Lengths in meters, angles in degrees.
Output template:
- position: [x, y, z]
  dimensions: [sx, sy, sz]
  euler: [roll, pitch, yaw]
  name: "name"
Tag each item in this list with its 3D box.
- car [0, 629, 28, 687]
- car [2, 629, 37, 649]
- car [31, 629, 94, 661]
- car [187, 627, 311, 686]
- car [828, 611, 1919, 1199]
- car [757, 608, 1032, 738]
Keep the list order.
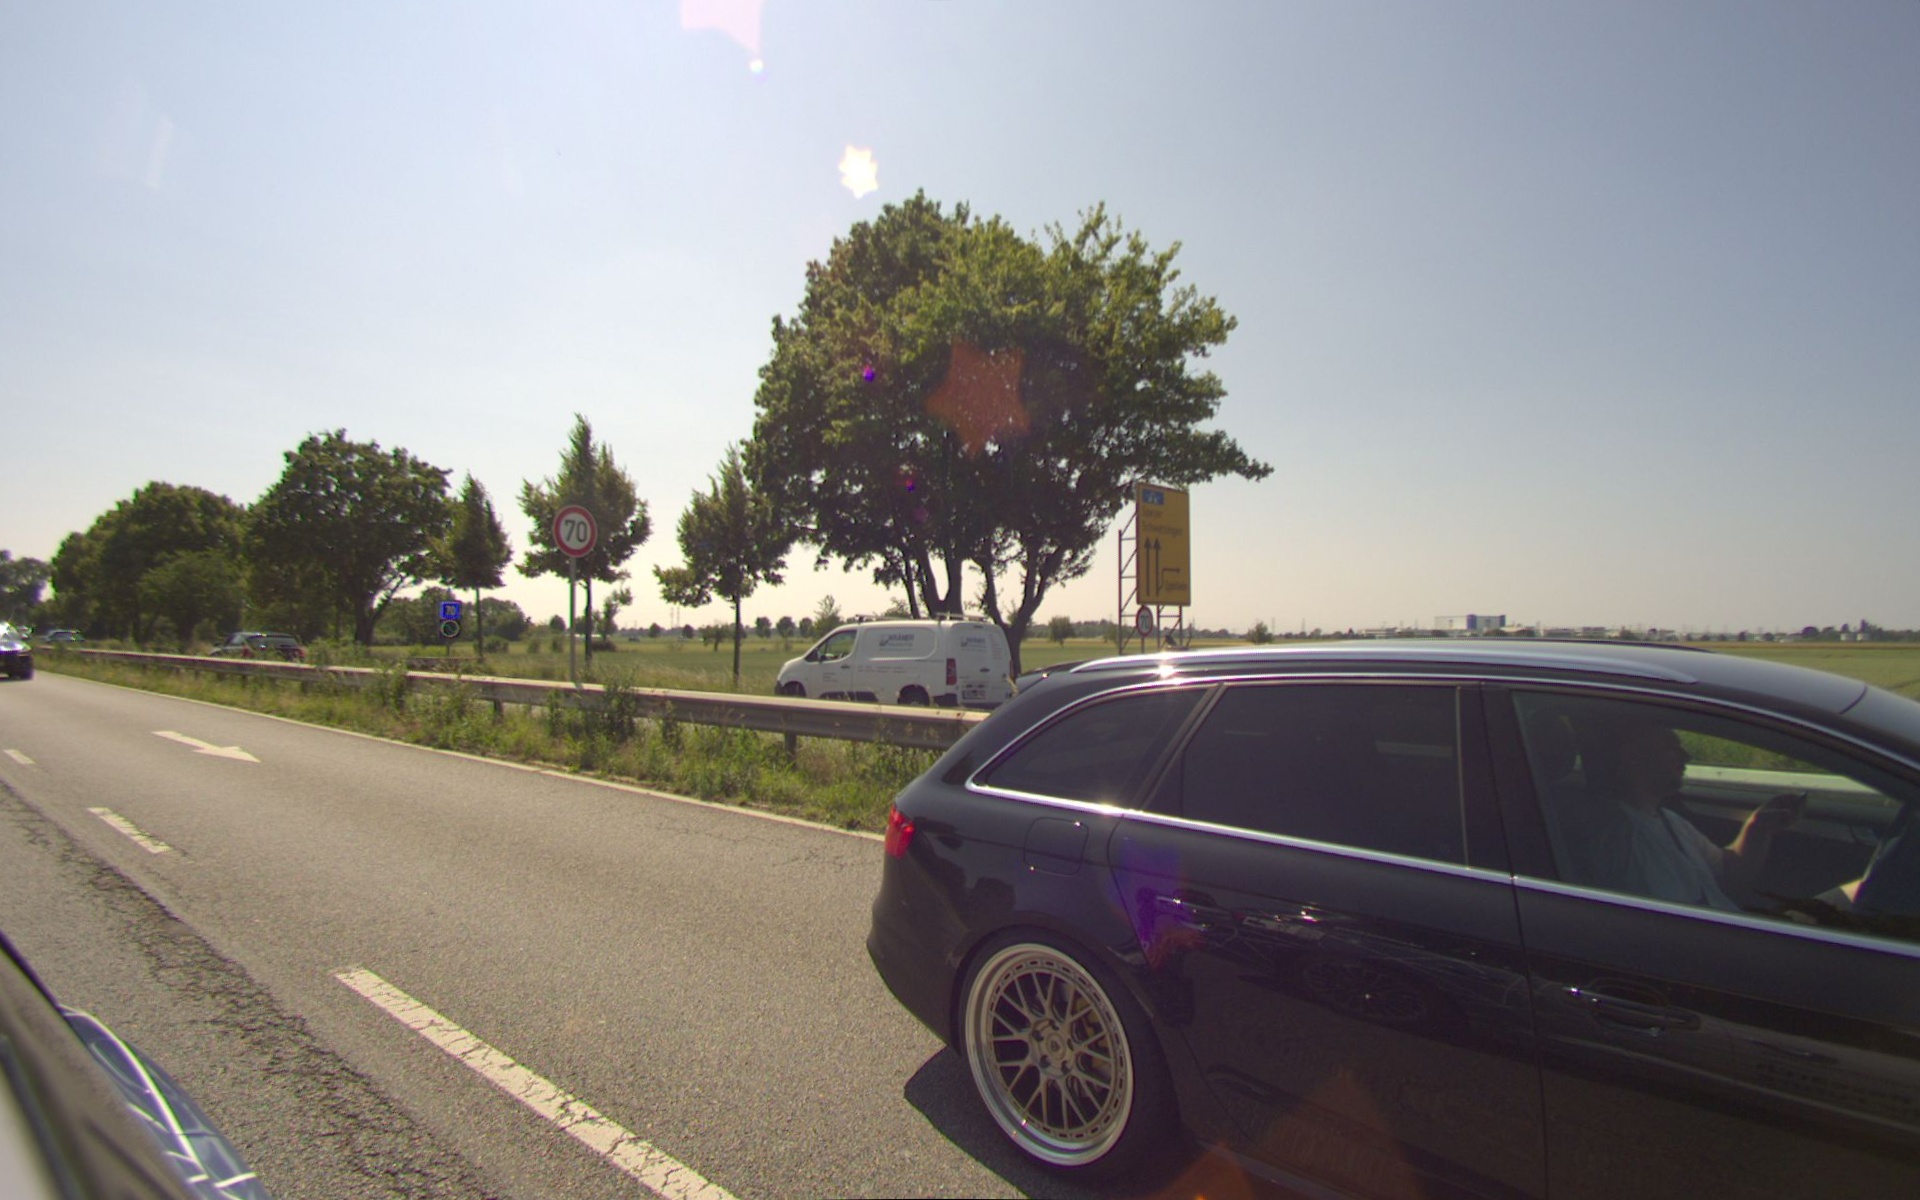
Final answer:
- position: [-27.590, 1.611, 28.390]
  dimensions: [4.100, 1.527, 1.835]
  euler: [-2, -1, 43]
  name: "car"
- position: [-93.283, 3.888, 100.351]
  dimensions: [4.924, 1.975, 1.973]
  euler: [-2, -3, 41]
  name: "car"
- position: [-48.827, 2.409, 55.037]
  dimensions: [4.478, 1.675, 1.973]
  euler: [-2, -3, 41]
  name: "car"
- position: [-21.263, 1.639, 30.211]
  dimensions: [4.478, 1.615, 1.973]
  euler: [-2, -3, 41]
  name: "car"
- position: [1.826, 0.733, 2.302]
  dimensions: [4.453, 1.391, 1.722]
  euler: [-2, -1, 42]
  name: "car"
- position: [-1.257, 1.179, 17.705]
  dimensions: [4.827, 1.966, 1.973]
  euler: [-2, -3, 41]
  name: "car"
